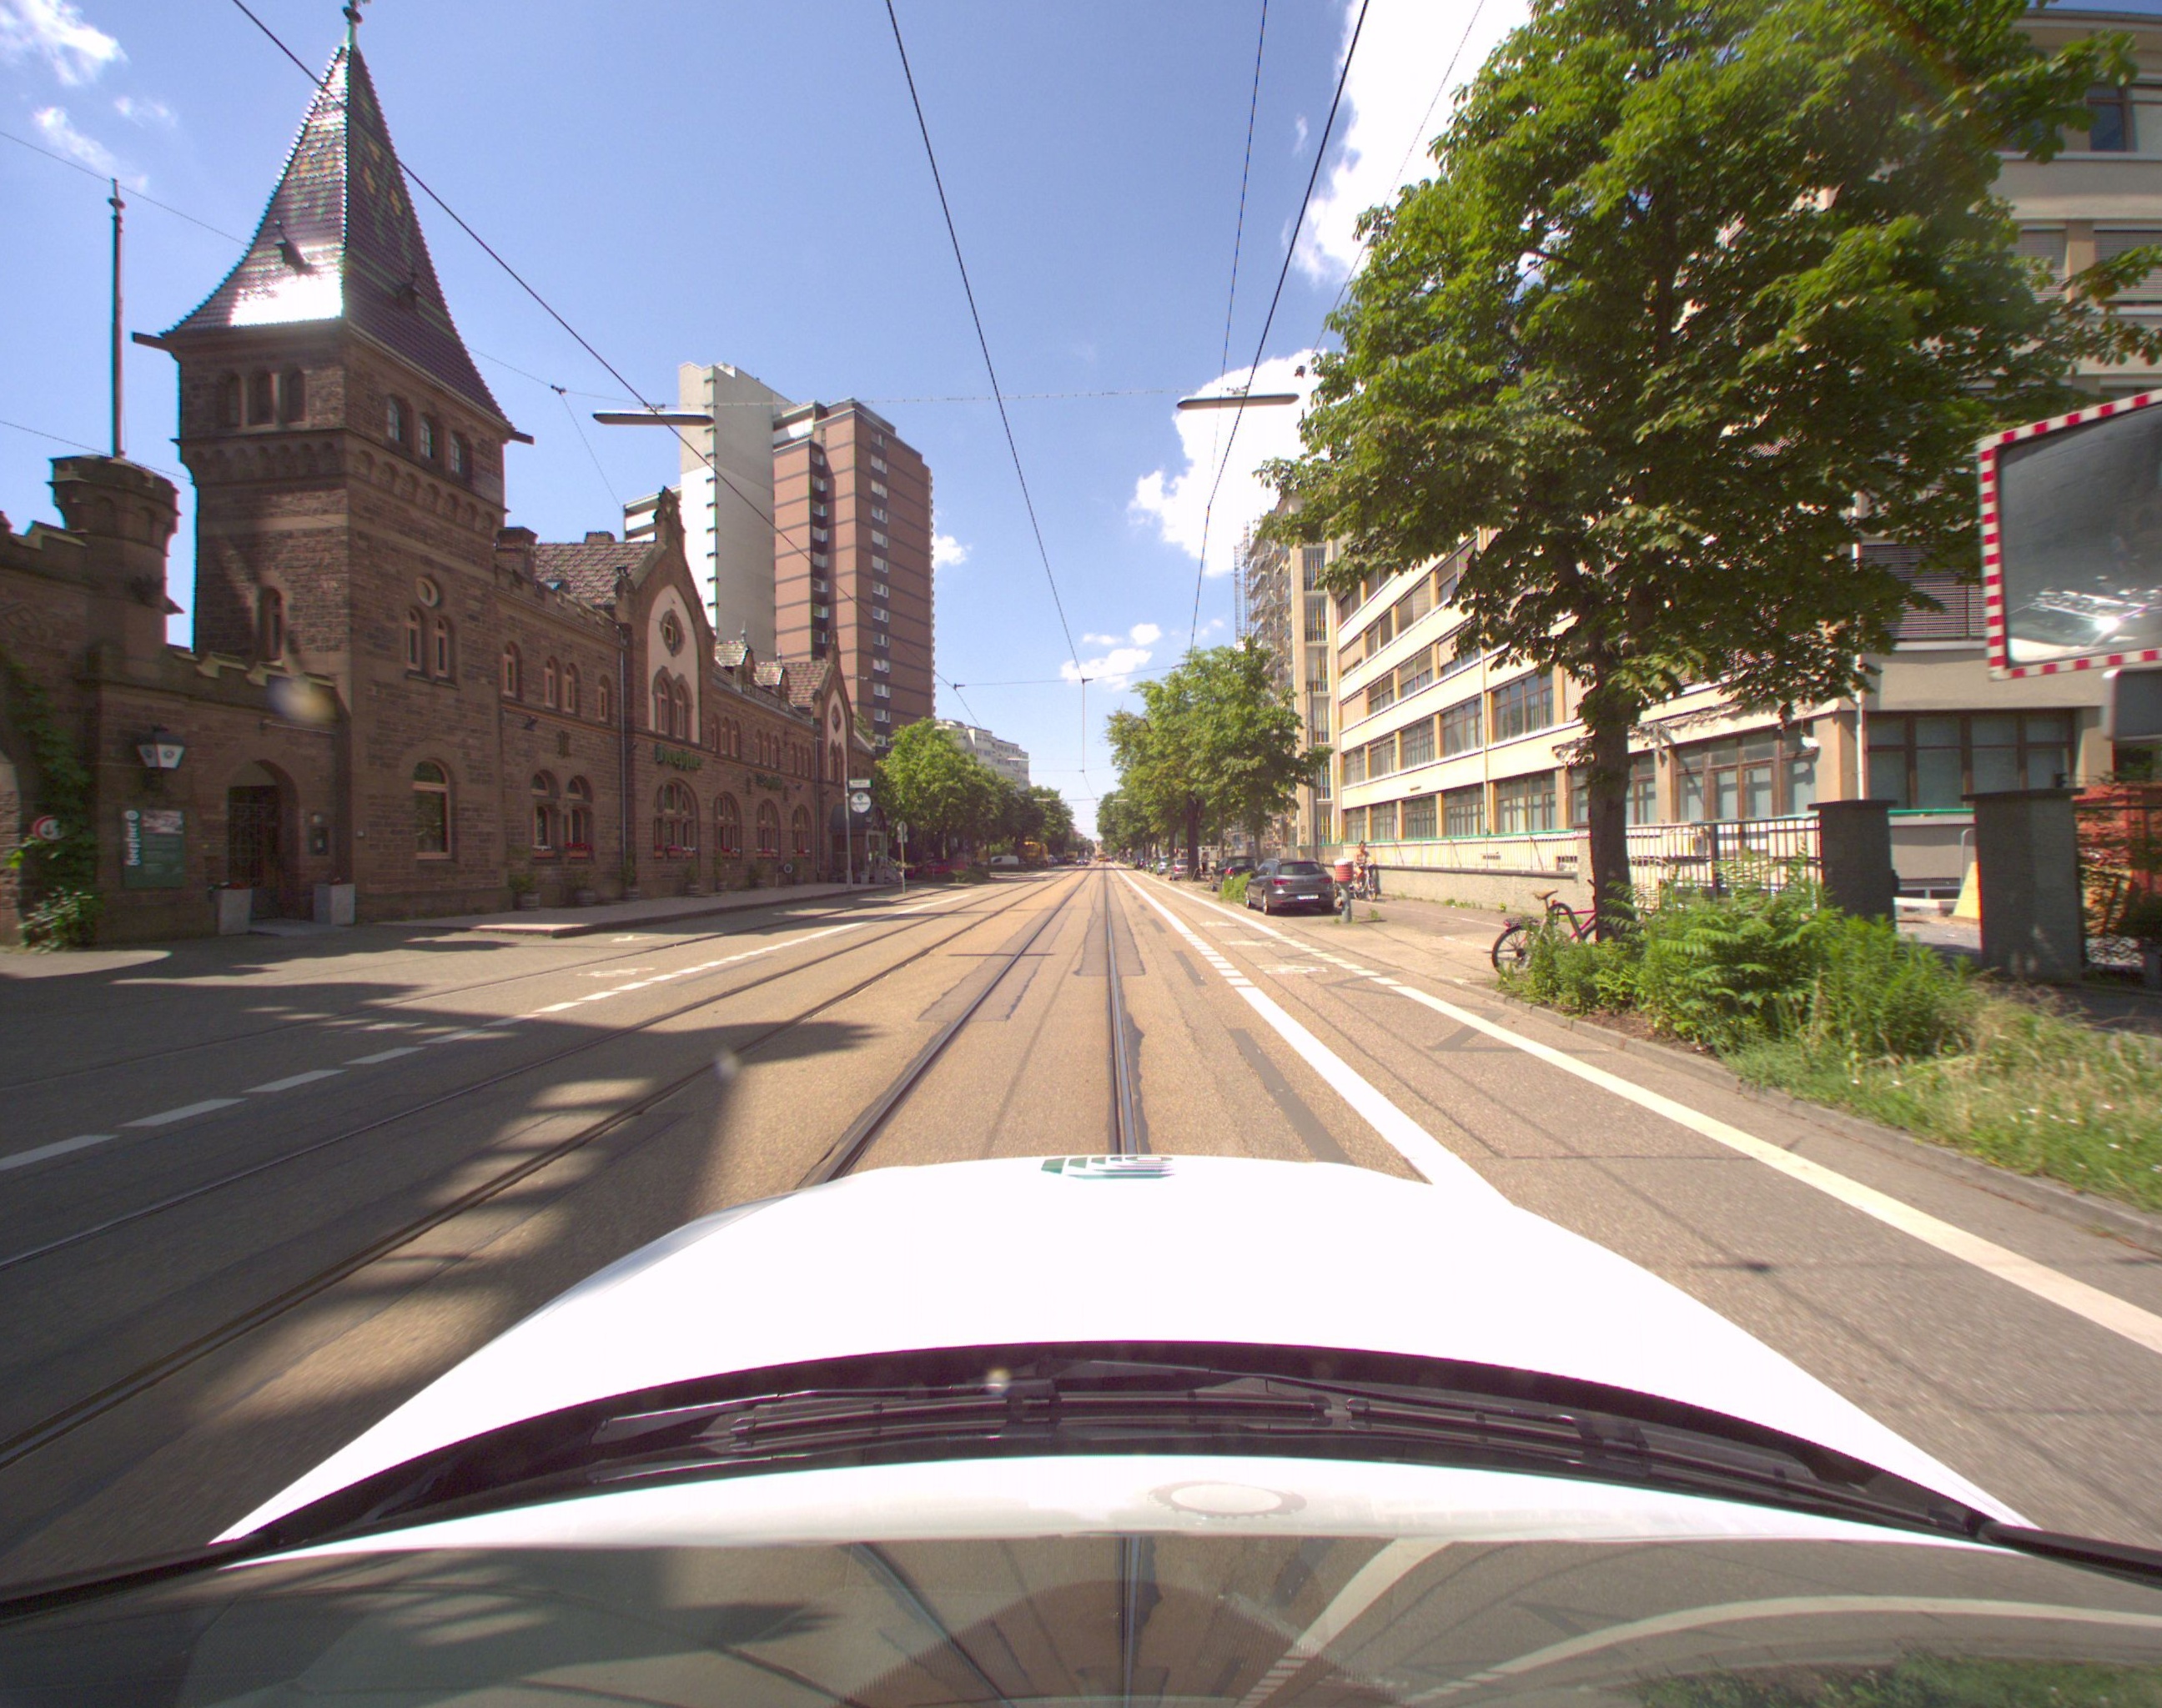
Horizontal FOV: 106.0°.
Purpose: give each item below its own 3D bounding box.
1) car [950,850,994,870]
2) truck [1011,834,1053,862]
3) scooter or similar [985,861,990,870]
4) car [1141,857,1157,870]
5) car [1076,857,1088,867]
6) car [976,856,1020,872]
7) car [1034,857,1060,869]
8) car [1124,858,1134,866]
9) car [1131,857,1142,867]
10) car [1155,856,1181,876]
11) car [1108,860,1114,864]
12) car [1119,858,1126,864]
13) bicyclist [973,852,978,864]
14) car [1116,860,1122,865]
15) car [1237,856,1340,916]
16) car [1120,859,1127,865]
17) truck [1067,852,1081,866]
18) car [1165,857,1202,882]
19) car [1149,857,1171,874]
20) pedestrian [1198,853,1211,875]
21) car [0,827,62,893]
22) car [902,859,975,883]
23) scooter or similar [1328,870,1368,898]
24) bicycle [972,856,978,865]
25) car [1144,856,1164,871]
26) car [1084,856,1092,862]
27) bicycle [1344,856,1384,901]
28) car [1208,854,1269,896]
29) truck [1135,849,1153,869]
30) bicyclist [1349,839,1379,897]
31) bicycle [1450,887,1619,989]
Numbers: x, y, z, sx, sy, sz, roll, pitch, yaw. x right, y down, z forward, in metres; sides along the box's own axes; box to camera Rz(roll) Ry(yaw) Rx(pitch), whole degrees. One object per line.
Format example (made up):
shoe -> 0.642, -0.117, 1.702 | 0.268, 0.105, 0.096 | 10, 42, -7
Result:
car -> -14.968, 0.834, 112.116 | 2.157, 2.566, 6.766 | -1, -2, 31
truck -> -7.114, -0.789, 120.328 | 2.695, 3.842, 11.009 | 0, -1, 16
scooter or similar -> -12.211, 1.478, 105.999 | 0.381, 1.124, 1.371 | 0, 0, 6
car -> 7.985, 1.066, 96.098 | 1.816, 1.471, 4.405 | -1, 0, 4
car -> 0.201, 1.402, 142.535 | 1.824, 1.681, 4.186 | -2, 0, 2
car -> -9.211, 1.093, 90.420 | 4.563, 1.791, 1.882 | 0, 0, -31
car -> -6.197, 1.647, 149.712 | 1.898, 1.935, 4.785 | -4, -1, 44
car -> 9.361, 1.532, 160.141 | 1.634, 1.485, 3.870 | -2, -1, -1
car -> 8.574, 1.257, 126.253 | 1.637, 1.534, 3.788 | -1, 0, 3
car -> 6.975, 0.965, 65.347 | 1.665, 1.517, 4.202 | -1, 0, 1
car -> 9.091, 2.465, 246.562 | 1.774, 1.346, 3.417 | -1, -1, 2
car -> 10.191, 1.740, 201.242 | 1.586, 1.617, 3.908 | -2, -1, 1
bicyclist -> -12.382, 0.465, 95.277 | 0.479, 1.481, 0.780 | 0, 0, 0
car -> 11.038, 2.478, 238.766 | 1.704, 1.423, 4.310 | -2, -1, 1
car -> 5.508, 0.787, 22.209 | 1.665, 1.408, 4.749 | -1, 0, 1
car -> 11.408, 2.236, 220.414 | 1.704, 1.423, 4.310 | -2, -1, 1
truck -> -1.547, 1.005, 176.217 | 2.350, 2.852, 7.384 | -2, 0, 3
car -> 6.555, 0.942, 52.424 | 1.667, 1.499, 4.363 | -1, 0, -1
car -> 7.245, 1.020, 75.021 | 1.665, 1.438, 4.042 | -1, 0, 1
pedestrian -> 9.071, 0.712, 59.931 | 0.797, 1.589, 0.919 | -3, 0, 0
car -> -26.483, 0.174, 18.892 | 1.761, 1.494, 3.973 | 1, 3, -22
car -> -10.163, 1.202, 58.056 | 4.791, 1.566, 1.984 | -1, -1, -27
scooter or similar -> 8.411, 0.938, 25.716 | 0.759, 0.807, 1.556 | -3, 0, 2
bicycle -> -12.389, 0.723, 95.282 | 0.516, 1.047, 1.876 | 0, 0, 0
car -> 7.603, 1.012, 85.125 | 1.817, 1.471, 4.489 | -1, 0, 3
car -> 1.634, 1.167, 183.531 | 1.767, 1.397, 4.289 | -2, 0, 2
bicycle -> 8.335, 0.704, 24.044 | 0.552, 1.265, 1.774 | -4, 0, 2
car -> 6.125, 0.779, 32.054 | 1.665, 1.489, 3.981 | -1, 0, 1
truck -> 8.204, 0.673, 106.620 | 2.007, 2.489, 5.957 | -1, 0, 1
bicyclist -> 8.304, 0.406, 23.915 | 0.578, 1.648, 0.599 | -3, 0, 1
bicycle -> 5.098, 0.934, 9.208 | 1.580, 1.060, 0.562 | -1, 0, 0
